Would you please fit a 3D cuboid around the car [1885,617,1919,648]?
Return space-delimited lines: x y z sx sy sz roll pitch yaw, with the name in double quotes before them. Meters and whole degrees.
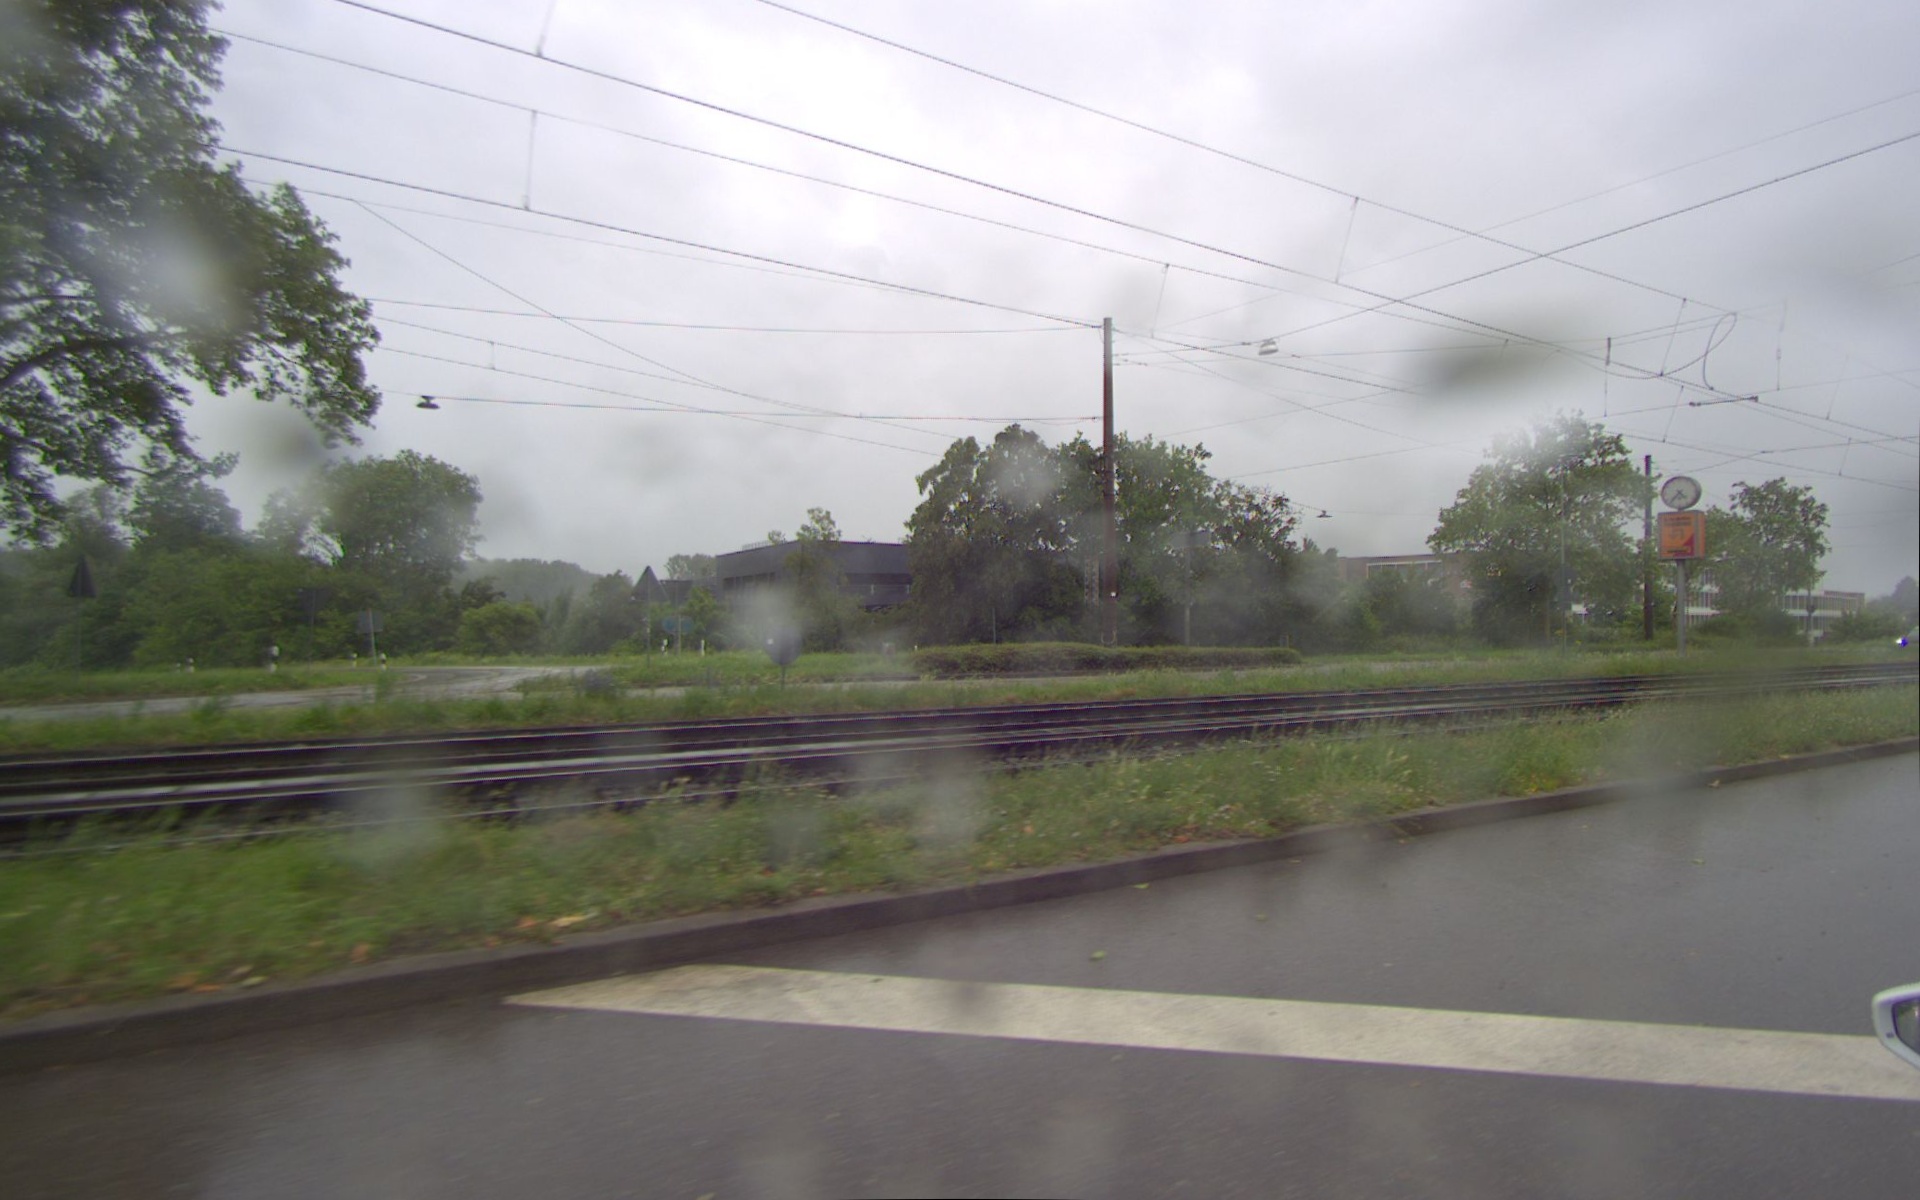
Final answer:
"car" 55.894 1.885 58.547 4.731 1.709 1.931 1 -1 -34
